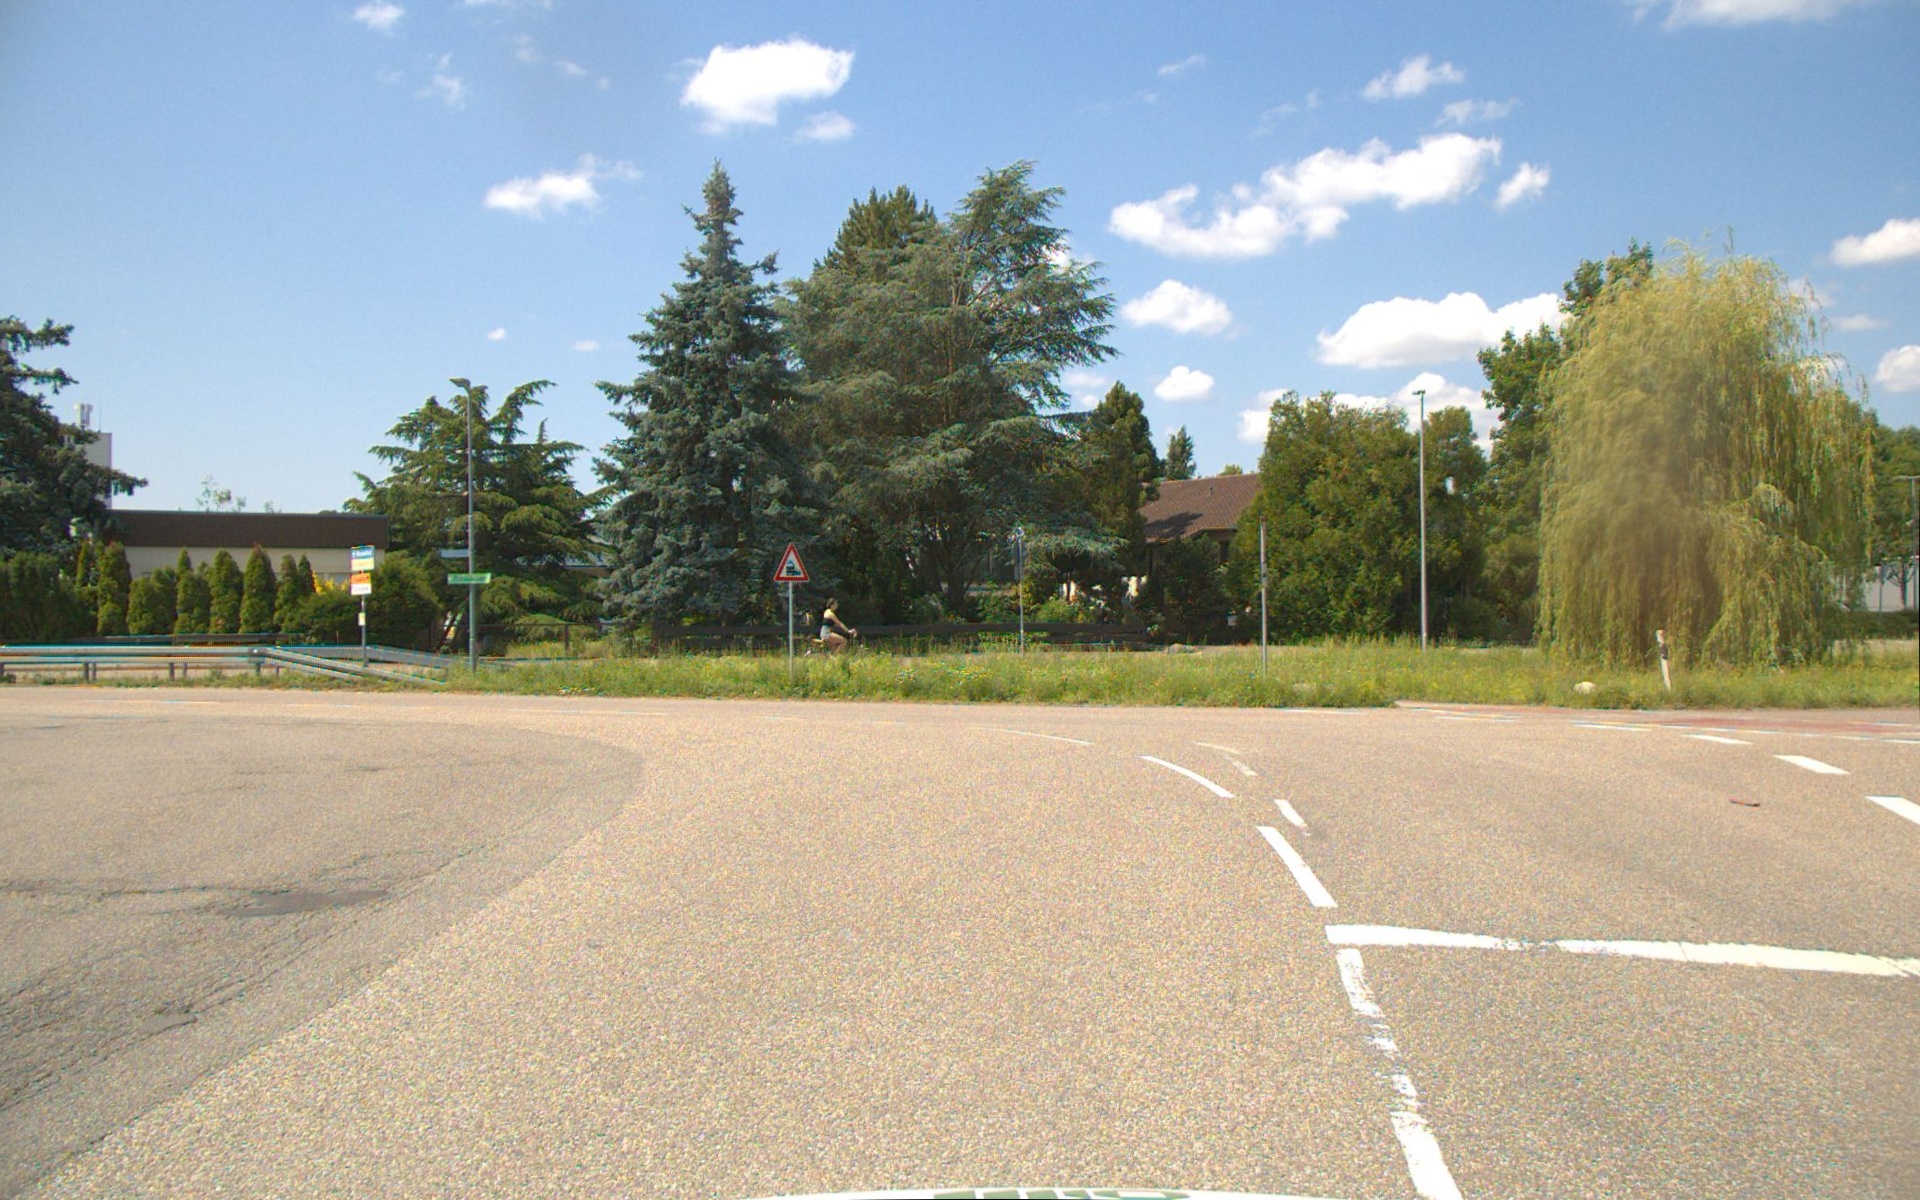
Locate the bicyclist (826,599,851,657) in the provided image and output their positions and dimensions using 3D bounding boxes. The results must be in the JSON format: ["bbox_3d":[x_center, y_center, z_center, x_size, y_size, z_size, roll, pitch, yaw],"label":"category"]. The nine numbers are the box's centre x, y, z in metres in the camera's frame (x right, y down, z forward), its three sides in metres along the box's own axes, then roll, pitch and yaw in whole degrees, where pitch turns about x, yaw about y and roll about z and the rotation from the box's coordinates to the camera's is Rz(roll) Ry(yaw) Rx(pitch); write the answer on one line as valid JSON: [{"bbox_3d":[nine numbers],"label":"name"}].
[{"bbox_3d":[-2.707,0.627,36.816,0.501,1.277,0.468,0,-1,-12],"label":"bicyclist"}]

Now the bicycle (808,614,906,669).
[{"bbox_3d":[-2.310,0.919,36.922,2.102,1.185,0.659,0,0,-13],"label":"bicycle"}]

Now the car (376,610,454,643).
[{"bbox_3d":[-27.536,1.311,83.559,3.495,1.613,1.546,0,0,-35],"label":"car"}]
